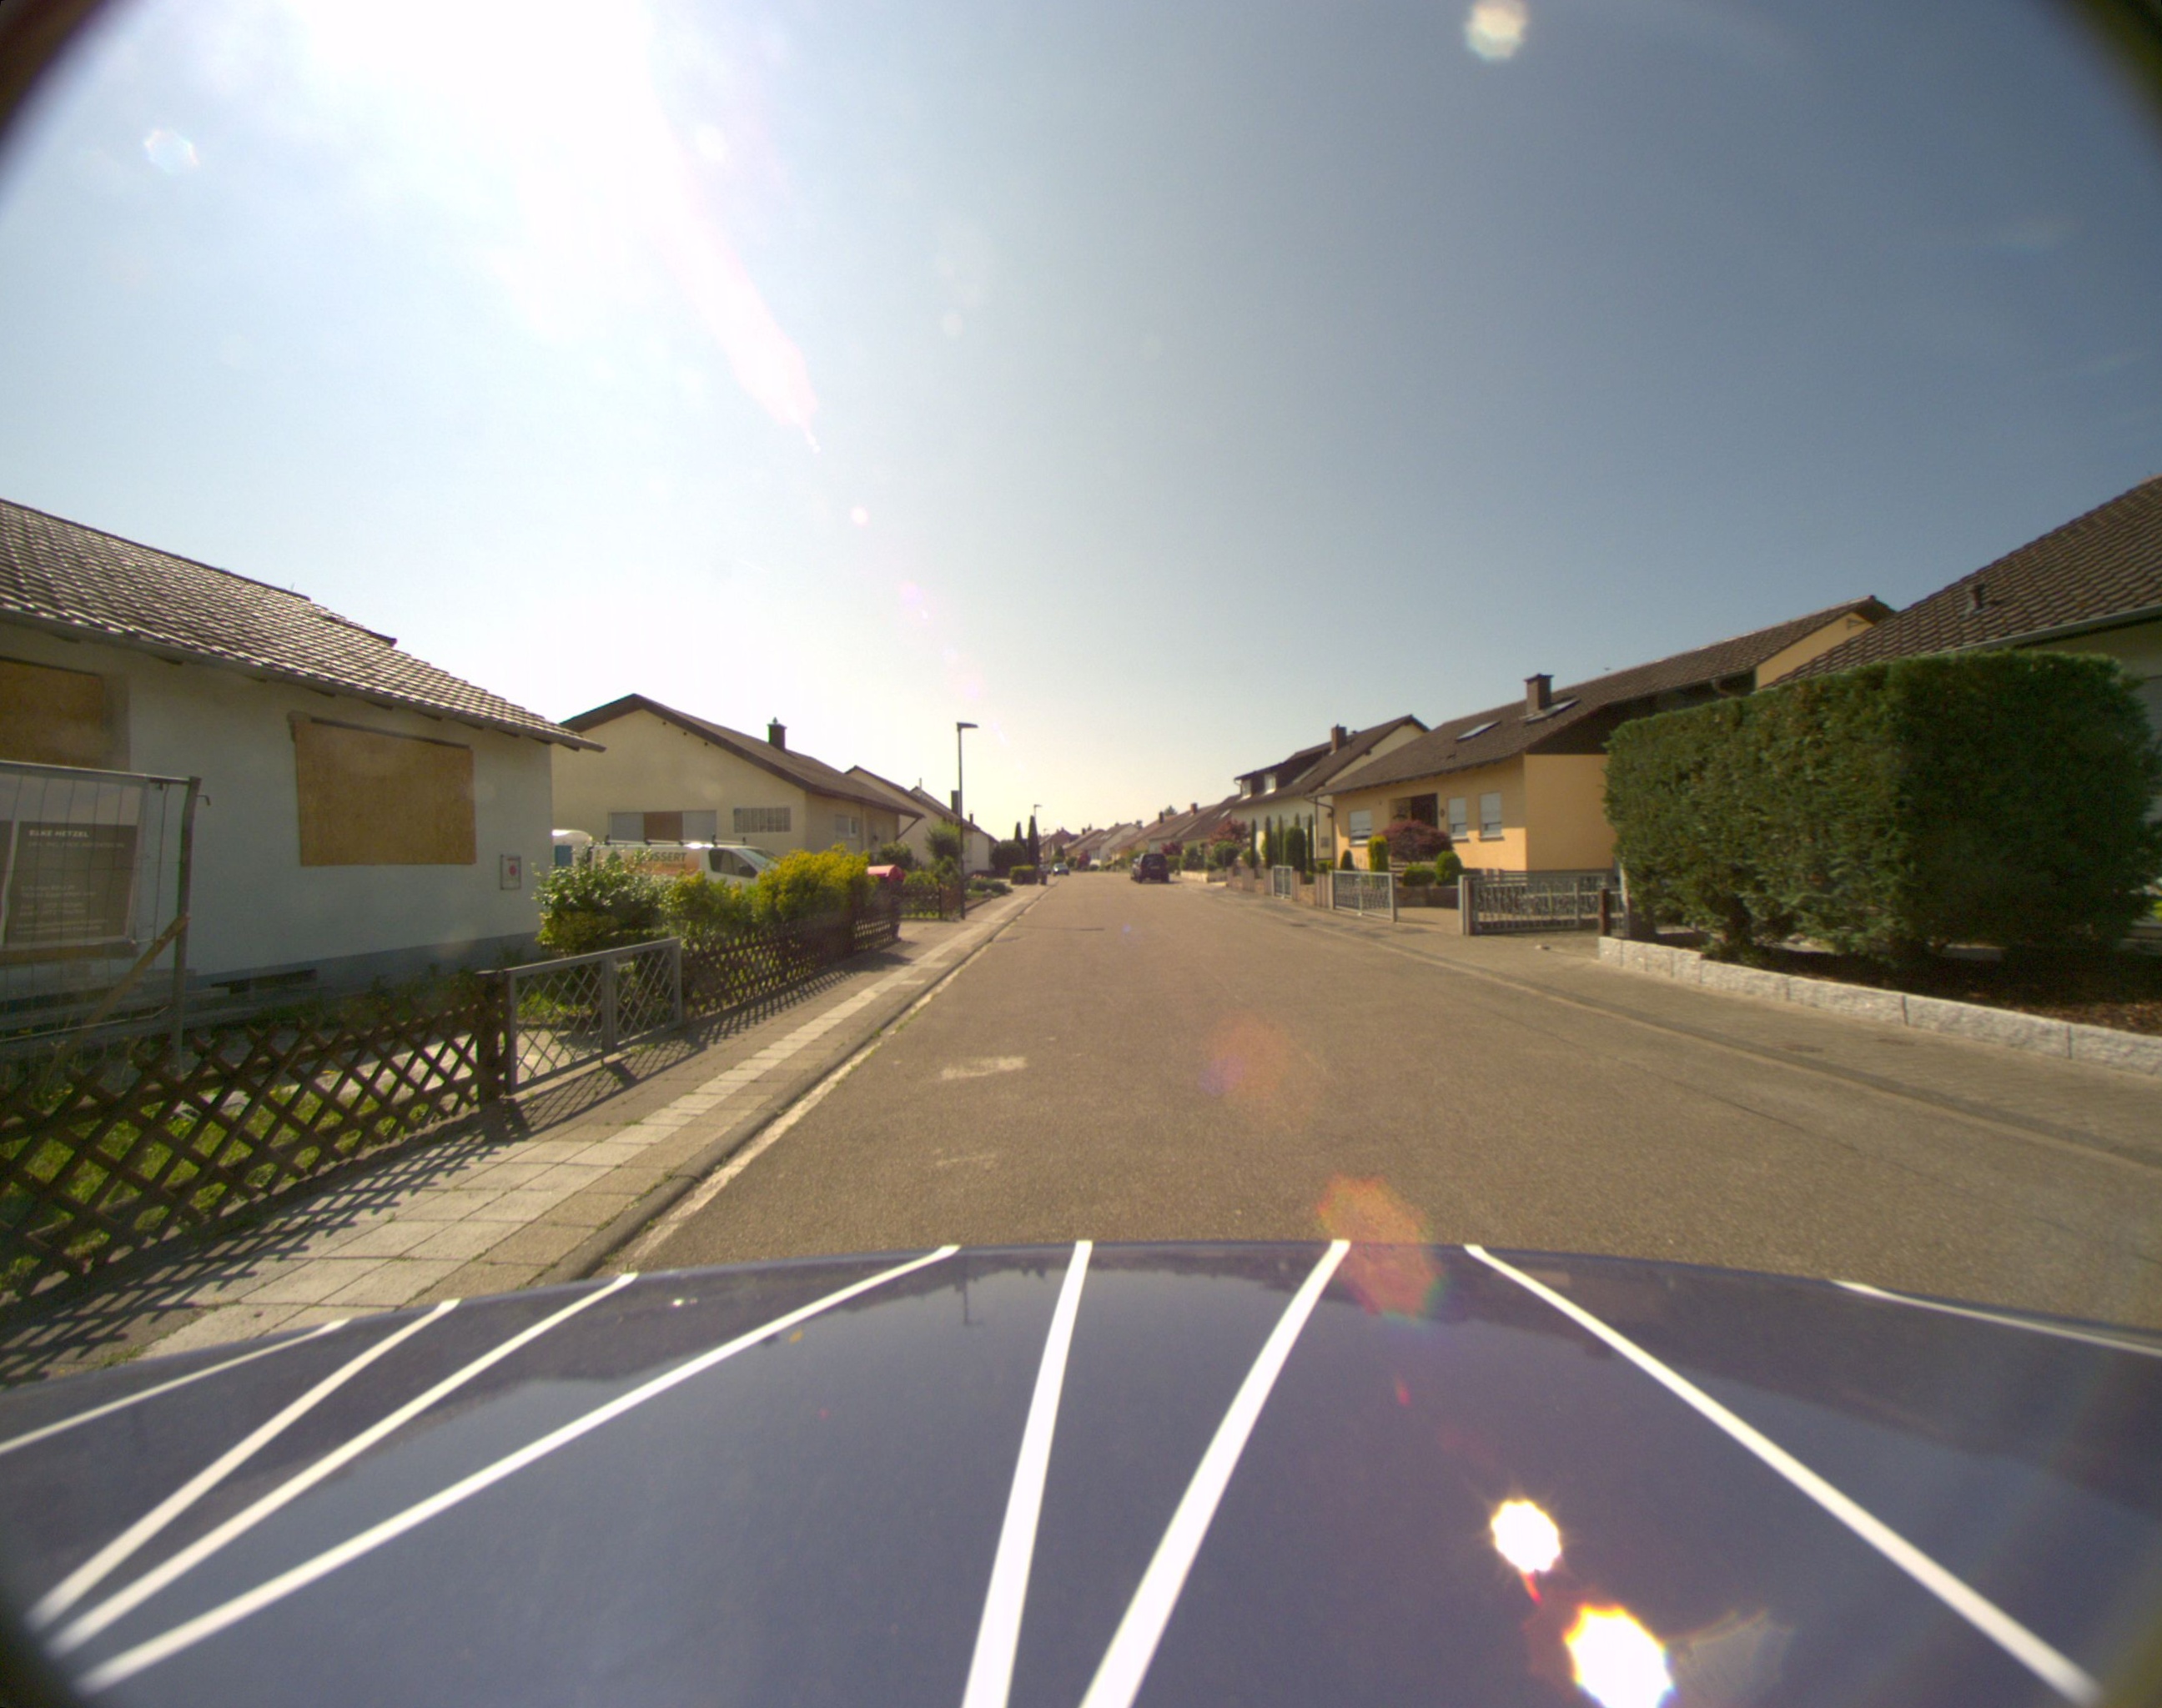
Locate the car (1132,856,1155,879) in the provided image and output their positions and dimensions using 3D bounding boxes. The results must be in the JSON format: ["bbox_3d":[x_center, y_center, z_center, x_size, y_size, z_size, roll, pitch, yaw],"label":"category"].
[{"bbox_3d":[4.175,0.899,50.917,1.305,1.415,3.103,-2,0,1],"label":"car"}]

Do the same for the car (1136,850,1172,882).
[{"bbox_3d":[4.339,0.700,45.548,1.769,1.767,3.652,-2,0,1],"label":"car"}]

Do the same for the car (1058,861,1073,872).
[{"bbox_3d":[-1.854,1.499,90.023,1.459,1.270,3.102,-1,0,-5],"label":"car"}]

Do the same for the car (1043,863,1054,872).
[{"bbox_3d":[-4.882,1.962,113.109,1.459,1.270,3.102,-1,0,-4],"label":"car"}]

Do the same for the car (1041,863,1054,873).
[{"bbox_3d":[-4.546,1.835,103.012,1.459,1.270,3.101,-1,0,-6],"label":"car"}]

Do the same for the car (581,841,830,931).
[{"bbox_3d":[-8.867,0.738,18.219,5.008,2.002,1.868,-1,0,2],"label":"car"}]
